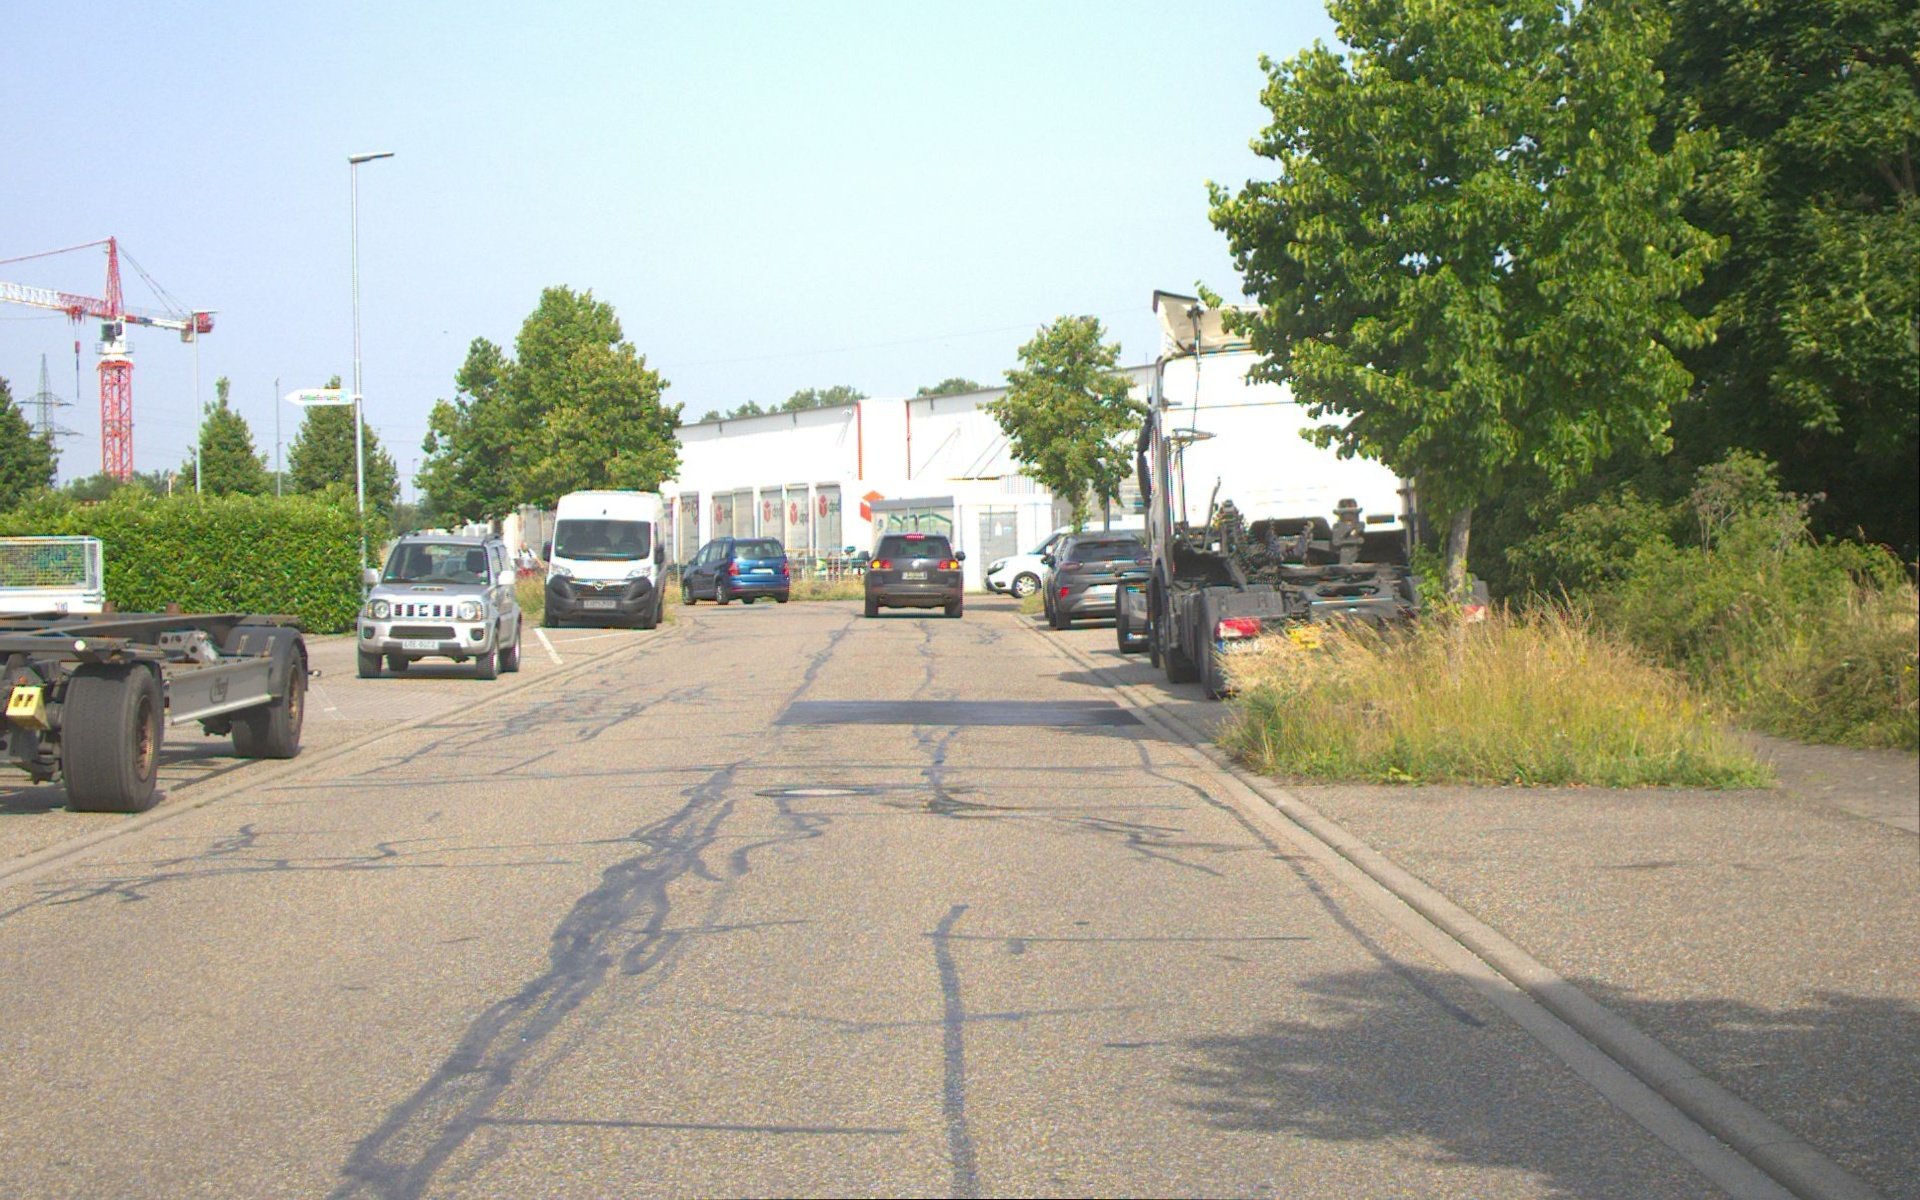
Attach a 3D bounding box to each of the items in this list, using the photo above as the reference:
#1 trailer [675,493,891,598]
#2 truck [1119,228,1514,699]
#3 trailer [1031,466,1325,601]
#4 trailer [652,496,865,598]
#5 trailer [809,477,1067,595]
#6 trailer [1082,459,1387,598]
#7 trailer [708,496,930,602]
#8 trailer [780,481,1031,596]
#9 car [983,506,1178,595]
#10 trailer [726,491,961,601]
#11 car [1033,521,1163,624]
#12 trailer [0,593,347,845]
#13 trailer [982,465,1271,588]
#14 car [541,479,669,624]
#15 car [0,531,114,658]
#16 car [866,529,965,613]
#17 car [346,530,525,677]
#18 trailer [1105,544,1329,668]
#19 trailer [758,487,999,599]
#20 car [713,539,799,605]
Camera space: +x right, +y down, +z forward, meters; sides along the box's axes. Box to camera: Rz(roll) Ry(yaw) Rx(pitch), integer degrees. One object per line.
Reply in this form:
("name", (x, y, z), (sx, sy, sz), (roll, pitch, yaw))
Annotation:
("trailer", (-6.956, -2.129, 135.298), (7.960, 3.880, 2.776), (1, 0, -24))
("truck", (3.246, -1.237, 32.948), (2.691, 3.950, 6.049), (-3, 1, -2))
("trailer", (6.663, -2.049, 104.928), (8.534, 3.880, 2.776), (-2, 1, -22))
("trailer", (-8.084, -2.118, 138.102), (7.960, 3.880, 2.776), (1, 0, -24))
("trailer", (-0.759, -2.199, 120.289), (8.534, 3.880, 2.776), (1, 0, -24))
("trailer", (8.102, -2.109, 101.328), (8.534, 3.881, 2.776), (-1, -2, -22))
("trailer", (-5.420, -1.958, 132.718), (8.031, 3.880, 2.776), (1, 0, -24))
("trailer", (-1.933, -2.188, 123.290), (8.534, 3.880, 2.776), (1, 0, -24))
("car", (2.949, -1.210, 84.977), (4.609, 2.103, 2.128), (-1, 0, -2))
("trailer", (-4.347, -2.009, 128.789), (8.305, 3.880, 2.776), (1, 0, -24))
("car", (2.245, -0.441, 56.853), (1.880, 1.568, 4.113), (-2, 0, -1))
("trailer", (-6.067, 0.596, 22.321), (2.546, 1.070, 9.732), (1, 1, -1))
("trailer", (5.238, -2.264, 107.819), (8.730, 3.748, 2.791), (0, 0, -24))
("car", (-6.720, -0.926, 65.631), (2.102, 2.586, 6.505), (2, 1, -4))
("car", (-12.009, -0.092, 44.433), (1.833, 1.566, 3.818), (1, 0, -17))
("car", (-0.880, -0.563, 68.328), (1.880, 1.581, 4.113), (-1, 0, -1))
("car", (-6.208, 0.000, 41.020), (1.597, 1.645, 3.644), (-1, 1, -1))
("trailer", (2.919, 0.000, 40.613), (1.938, 1.231, 7.452), (-3, 1, -1))
("trailer", (-2.976, -2.075, 126.116), (8.305, 3.880, 2.776), (1, 0, -24))
("car", (-5.027, -0.681, 85.278), (1.968, 1.568, 4.114), (-1, 0, -2))
